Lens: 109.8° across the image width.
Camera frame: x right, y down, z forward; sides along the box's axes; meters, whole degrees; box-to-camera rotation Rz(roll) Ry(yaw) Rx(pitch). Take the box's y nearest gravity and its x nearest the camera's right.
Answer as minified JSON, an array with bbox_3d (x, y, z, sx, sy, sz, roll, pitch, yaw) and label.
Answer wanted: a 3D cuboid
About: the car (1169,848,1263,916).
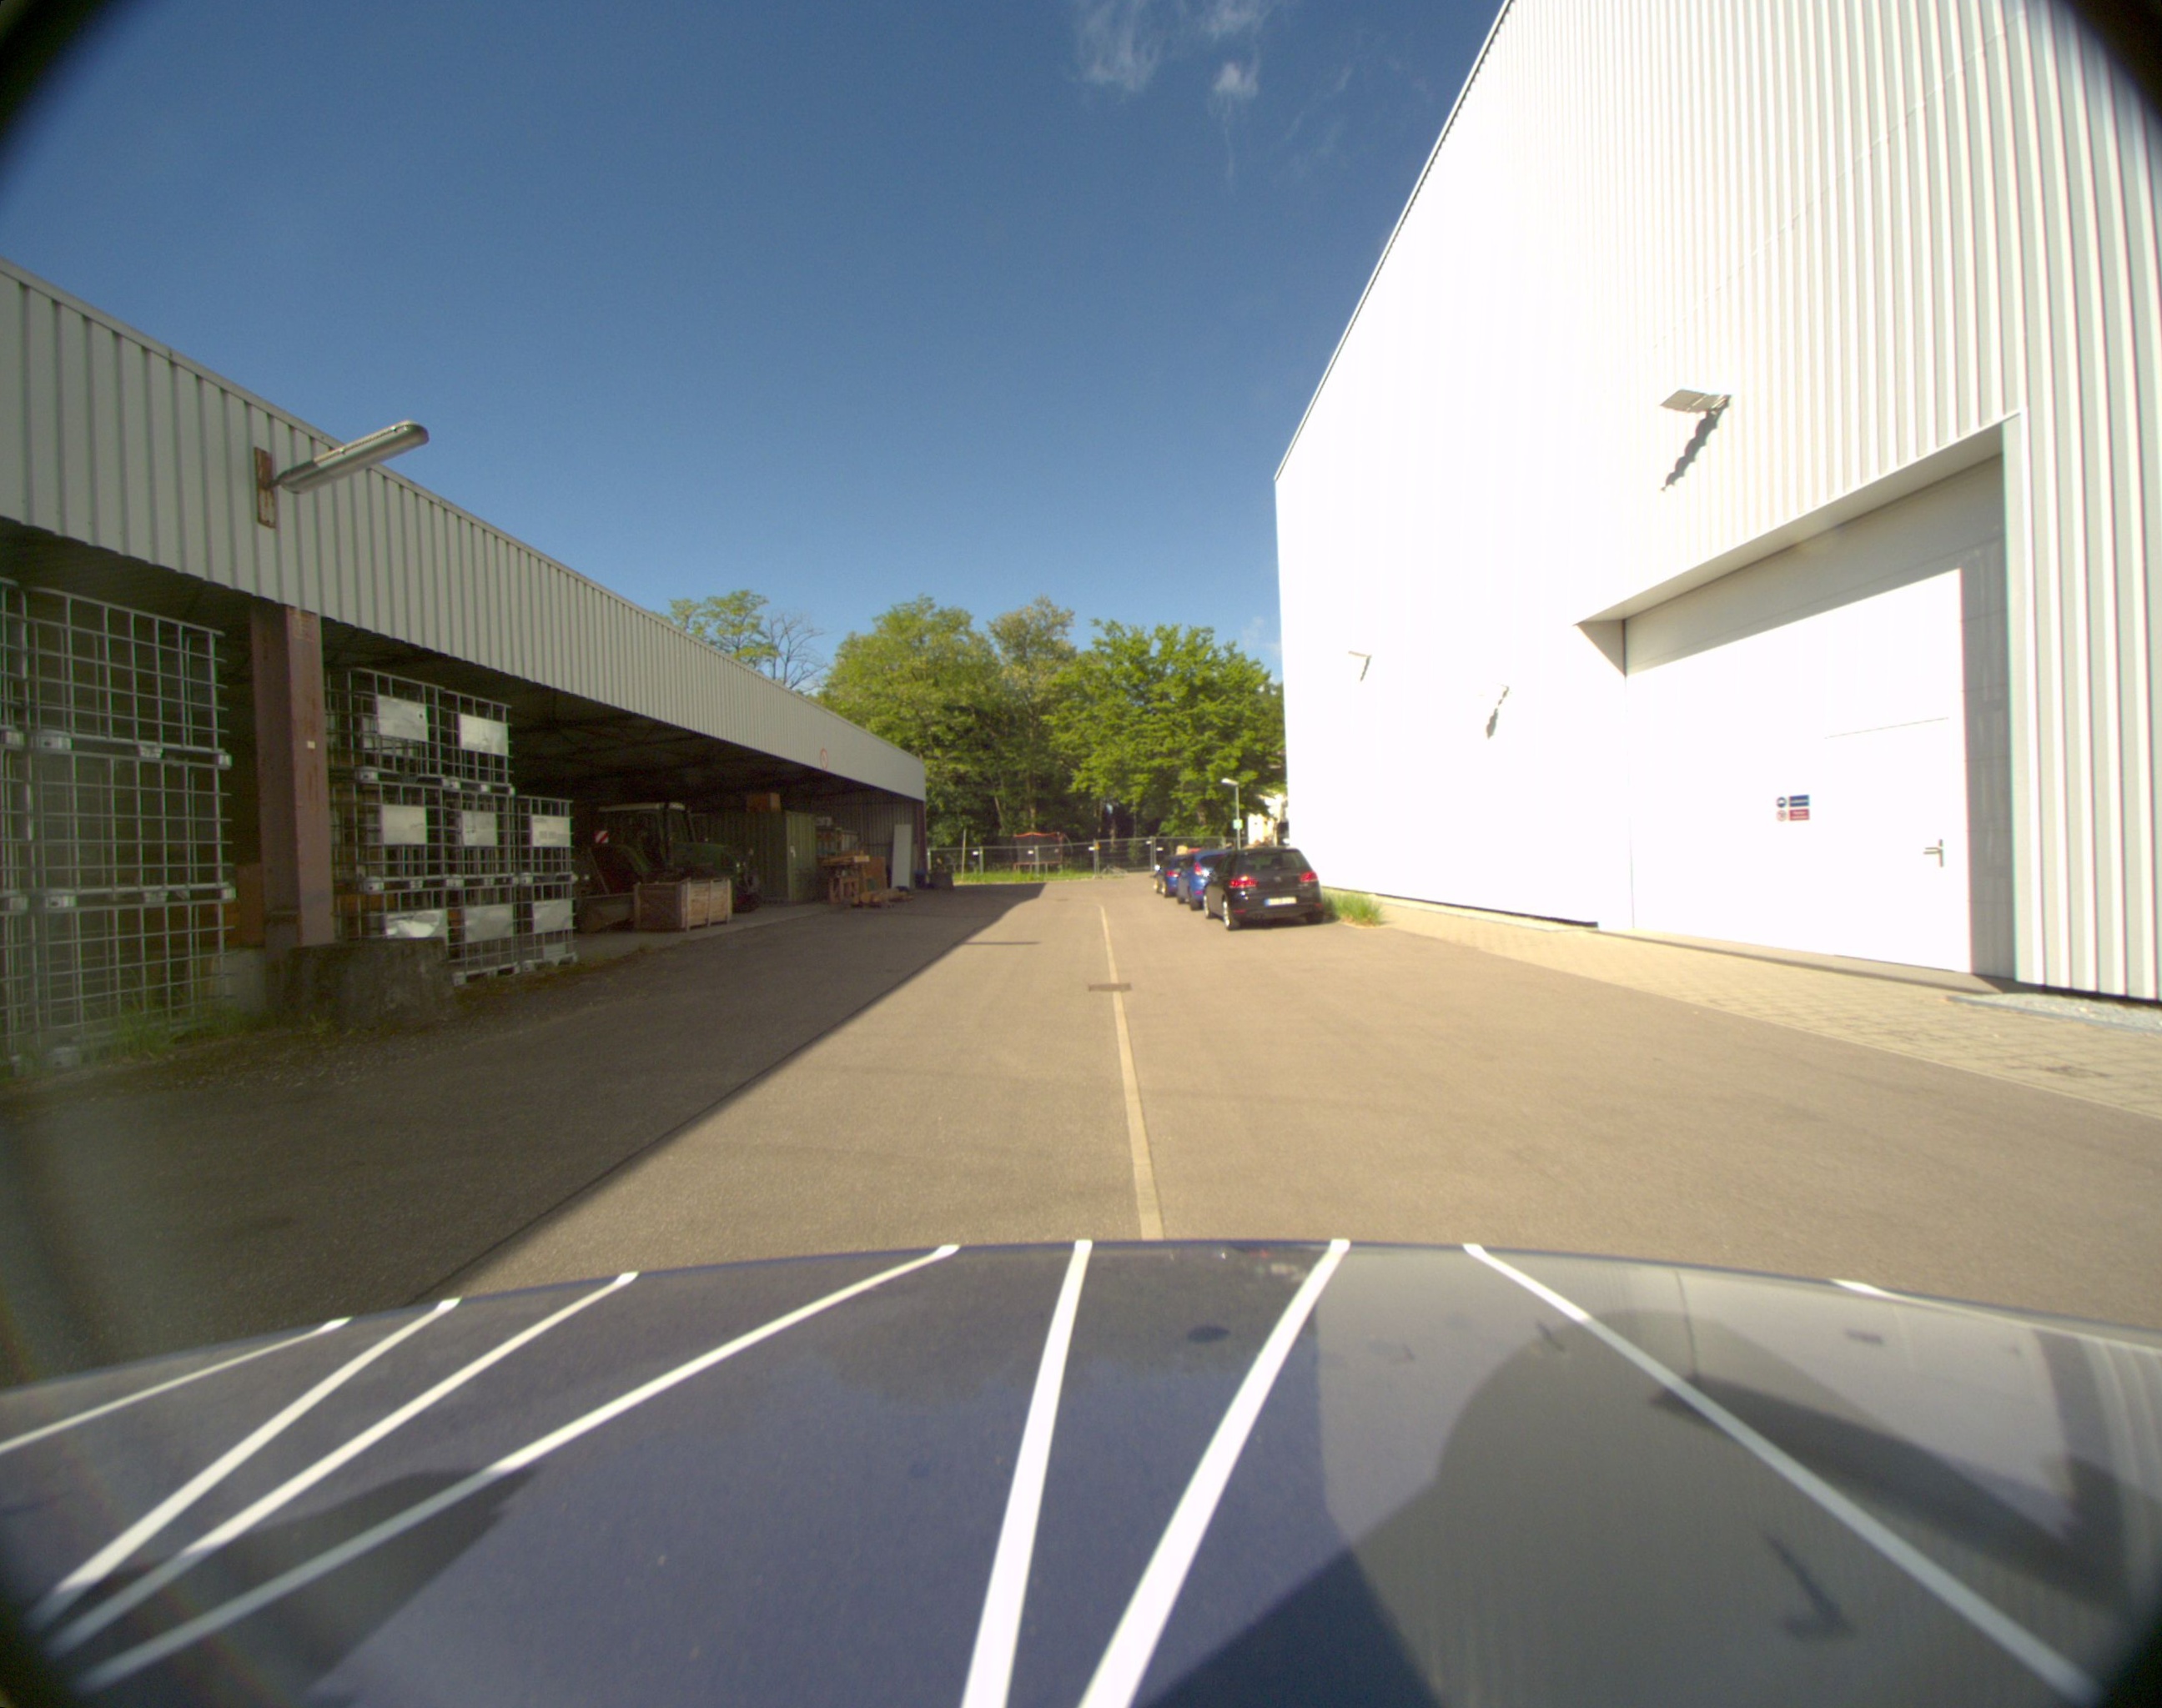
[{"bbox_3d":[3.443,0.663,20.095,1.635,1.491,4.094,-5,0,0],"label":"car"}]

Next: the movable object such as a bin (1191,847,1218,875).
[{"bbox_3d":[6.656,0.380,40.989,1.093,1.424,1.230,-4,2,-5],"label":"movable object such as a bin"}]

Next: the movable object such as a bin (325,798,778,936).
[{"bbox_3d":[-12.981,0.307,19.268,9.214,2.893,3.212,-2,1,2],"label":"movable object such as a bin"}]

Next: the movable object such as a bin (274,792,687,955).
[{"bbox_3d":[-12.221,0.367,15.953,6.200,2.893,3.016,-2,1,2],"label":"movable object such as a bin"}]

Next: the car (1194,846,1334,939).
[{"bbox_3d":[3.467,0.645,15.197,1.759,1.491,4.294,-4,0,1],"label":"car"}]

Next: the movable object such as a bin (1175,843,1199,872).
[{"bbox_3d":[6.178,0.197,44.222,1.093,1.588,1.230,-3,3,-5],"label":"movable object such as a bin"}]

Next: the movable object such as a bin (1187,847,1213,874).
[{"bbox_3d":[6.633,0.337,42.322,1.093,1.431,1.230,-4,2,-5],"label":"movable object such as a bin"}]

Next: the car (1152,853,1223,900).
[{"bbox_3d":[3.482,0.684,25.543,1.778,1.353,4.053,-3,0,0],"label":"car"}]
